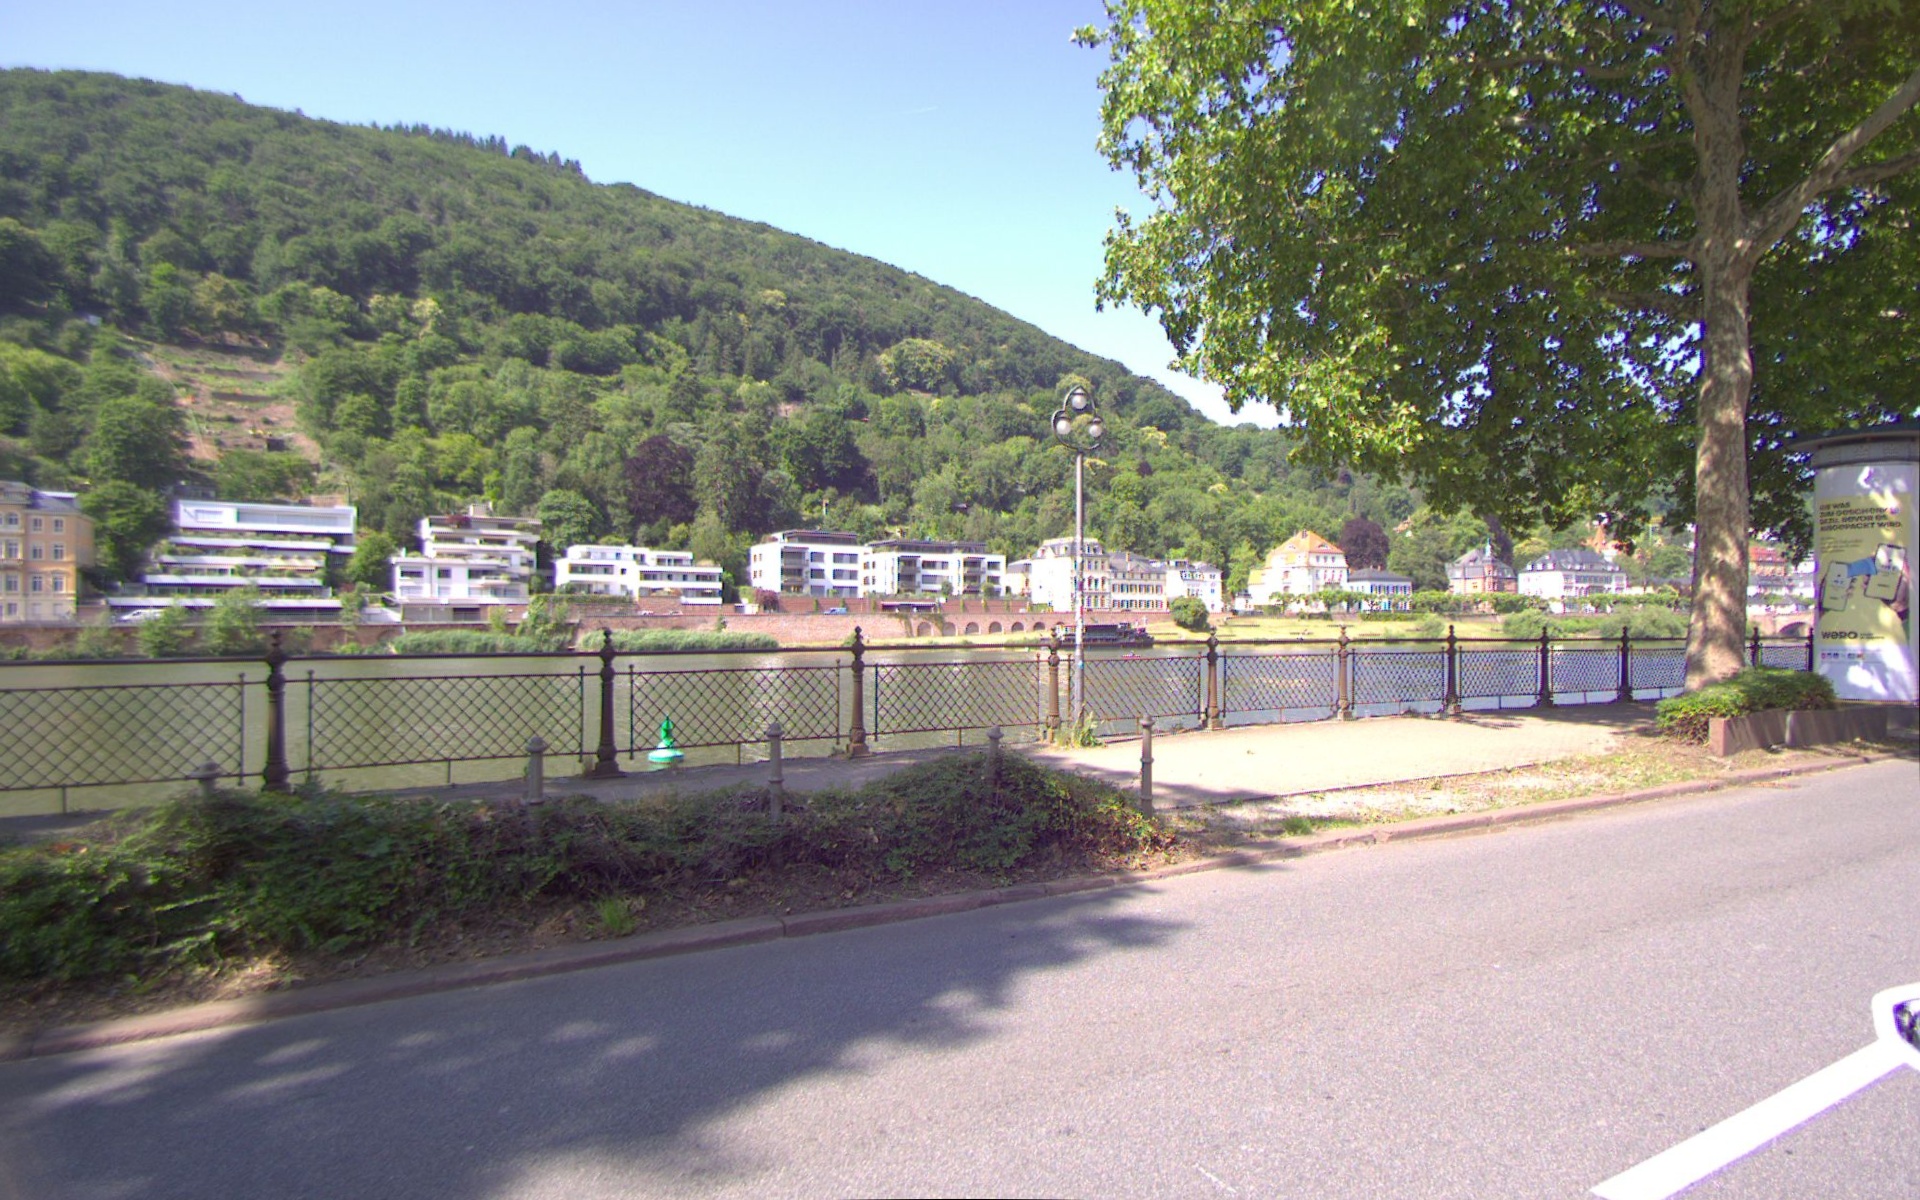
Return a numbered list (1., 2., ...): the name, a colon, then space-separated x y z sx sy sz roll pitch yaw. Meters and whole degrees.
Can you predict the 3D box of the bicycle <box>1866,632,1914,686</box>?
1. bicycle: 21.116 1.330 22.797 1.806 1.177 0.355 1 1 -33
